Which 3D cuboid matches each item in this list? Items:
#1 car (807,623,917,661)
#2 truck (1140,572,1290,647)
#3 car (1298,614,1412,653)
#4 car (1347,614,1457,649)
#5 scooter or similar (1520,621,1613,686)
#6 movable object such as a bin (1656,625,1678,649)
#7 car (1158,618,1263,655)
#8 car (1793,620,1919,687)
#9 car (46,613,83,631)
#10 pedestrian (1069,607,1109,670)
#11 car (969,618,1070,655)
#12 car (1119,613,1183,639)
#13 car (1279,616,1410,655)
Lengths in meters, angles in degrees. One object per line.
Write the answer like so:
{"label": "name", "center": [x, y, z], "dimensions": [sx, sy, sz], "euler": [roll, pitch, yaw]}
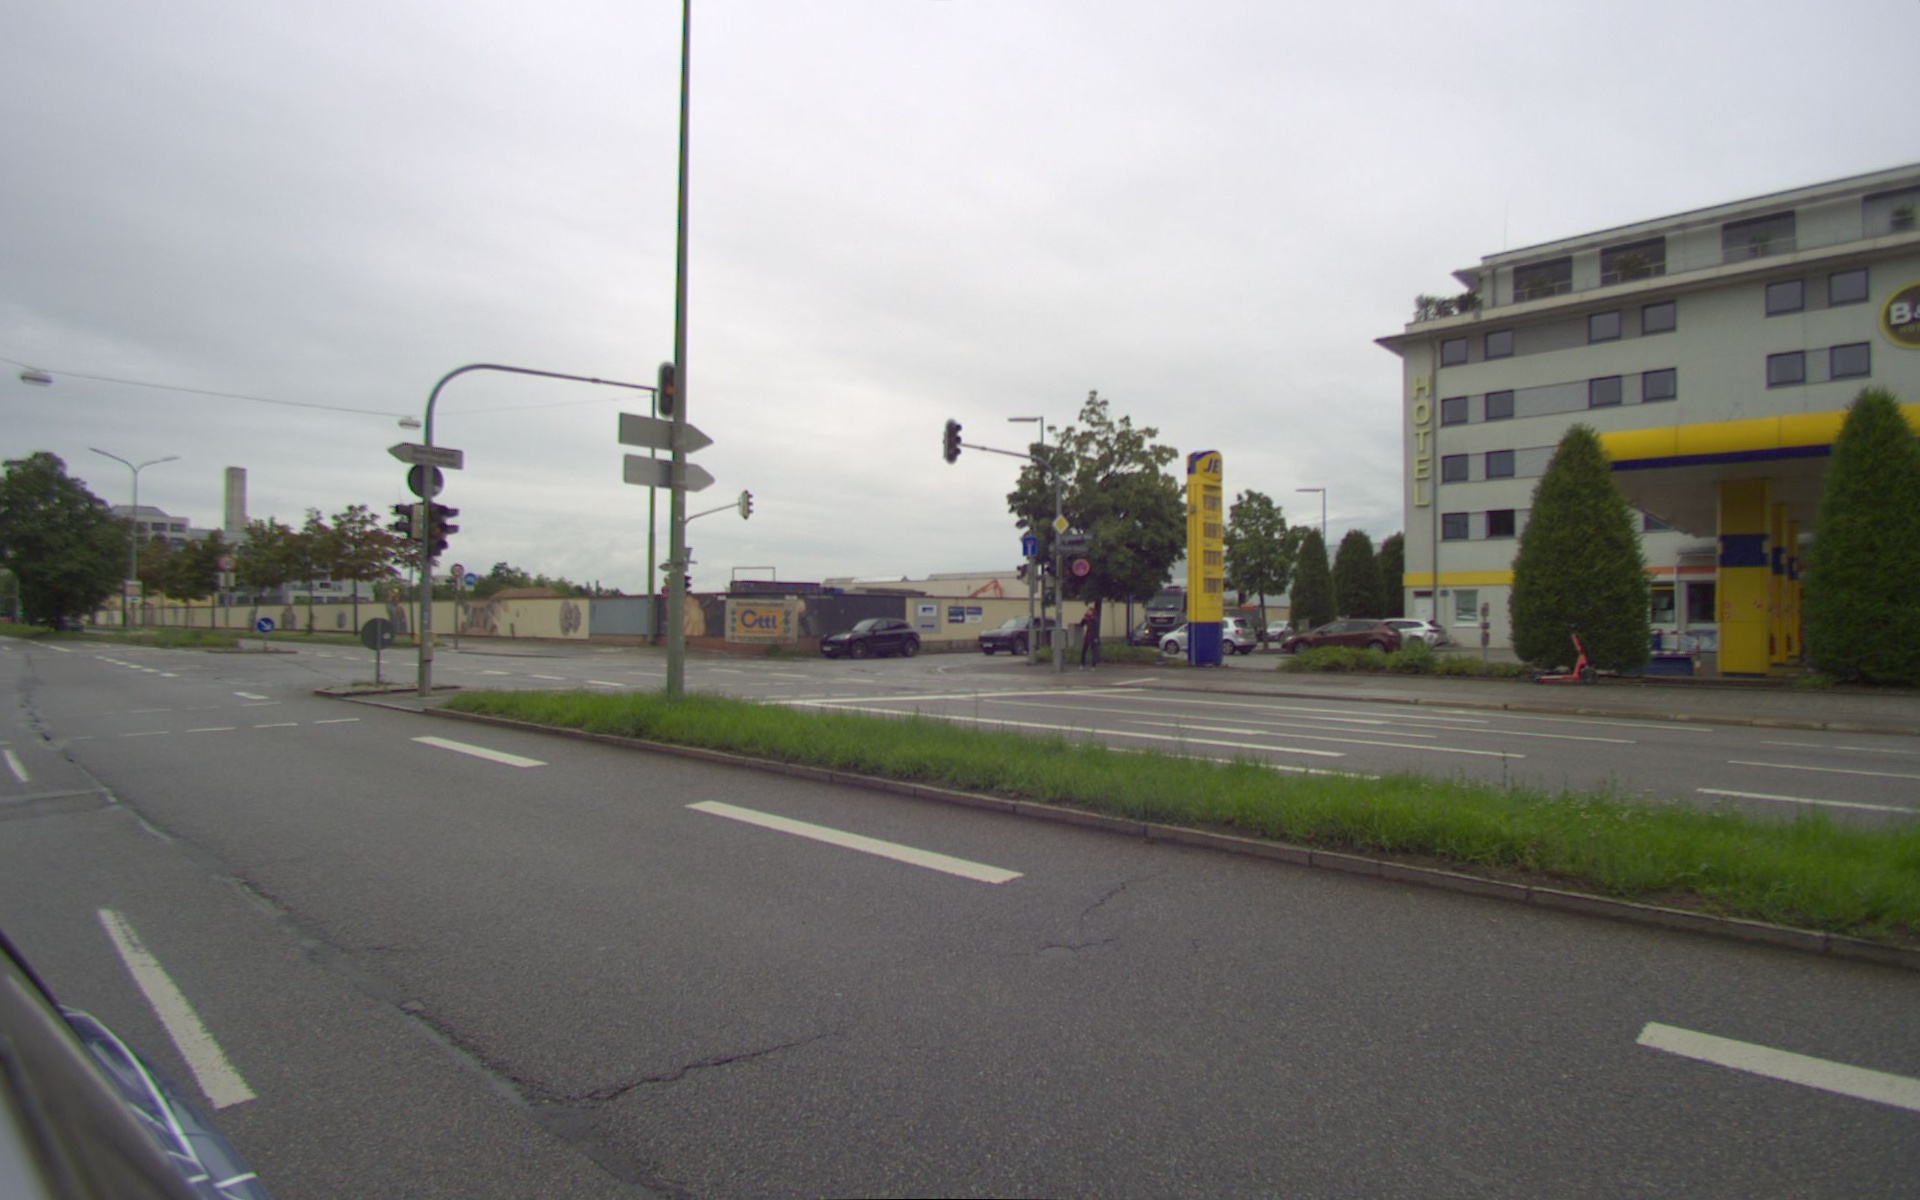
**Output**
{"label": "car", "center": [-3.973, 1.676, 41.490], "dimensions": [2.001, 1.439, 4.201], "euler": [-1, -2, 45]}
{"label": "truck", "center": [14.790, 0.572, 57.758], "dimensions": [2.611, 3.885, 11.761], "euler": [-1, -2, 45]}
{"label": "car", "center": [15.936, 1.355, 40.945], "dimensions": [3.979, 1.497, 1.605], "euler": [-1, -3, 44]}
{"label": "car", "center": [19.817, 1.411, 45.453], "dimensions": [4.192, 1.489, 1.882], "euler": [-1, -3, 42]}
{"label": "scooter or similar", "center": [12.245, 1.054, 20.459], "dimensions": [0.351, 1.252, 1.547], "euler": [-2, 0, -43]}
{"label": "movable object such as a bin", "center": [29.386, 1.533, 42.055], "dimensions": [0.687, 0.970, 0.628], "euler": [-1, -3, 42]}
{"label": "car", "center": [10.480, 1.517, 42.498], "dimensions": [3.976, 1.497, 1.606], "euler": [-1, -3, 41]}
{"label": "car", "center": [19.881, 1.104, 20.978], "dimensions": [3.998, 1.342, 1.776], "euler": [-1, -3, 41]}
{"label": "car", "center": [-77.391, 1.915, 87.438], "dimensions": [4.439, 1.519, 1.890], "euler": [-1, -3, 43]}
{"label": "pedestrian", "center": [3.479, 1.023, 27.291], "dimensions": [0.687, 1.627, 0.794], "euler": [-1, 0, 42]}
{"label": "car", "center": [2.697, 1.597, 45.198], "dimensions": [2.001, 1.544, 4.564], "euler": [-1, -2, 45]}
{"label": "car", "center": [11.223, 1.505, 59.311], "dimensions": [3.941, 1.487, 1.765], "euler": [1, -2, -45]}
{"label": "car", "center": [14.395, 1.329, 37.984], "dimensions": [4.350, 1.394, 1.685], "euler": [-1, -3, 33]}
